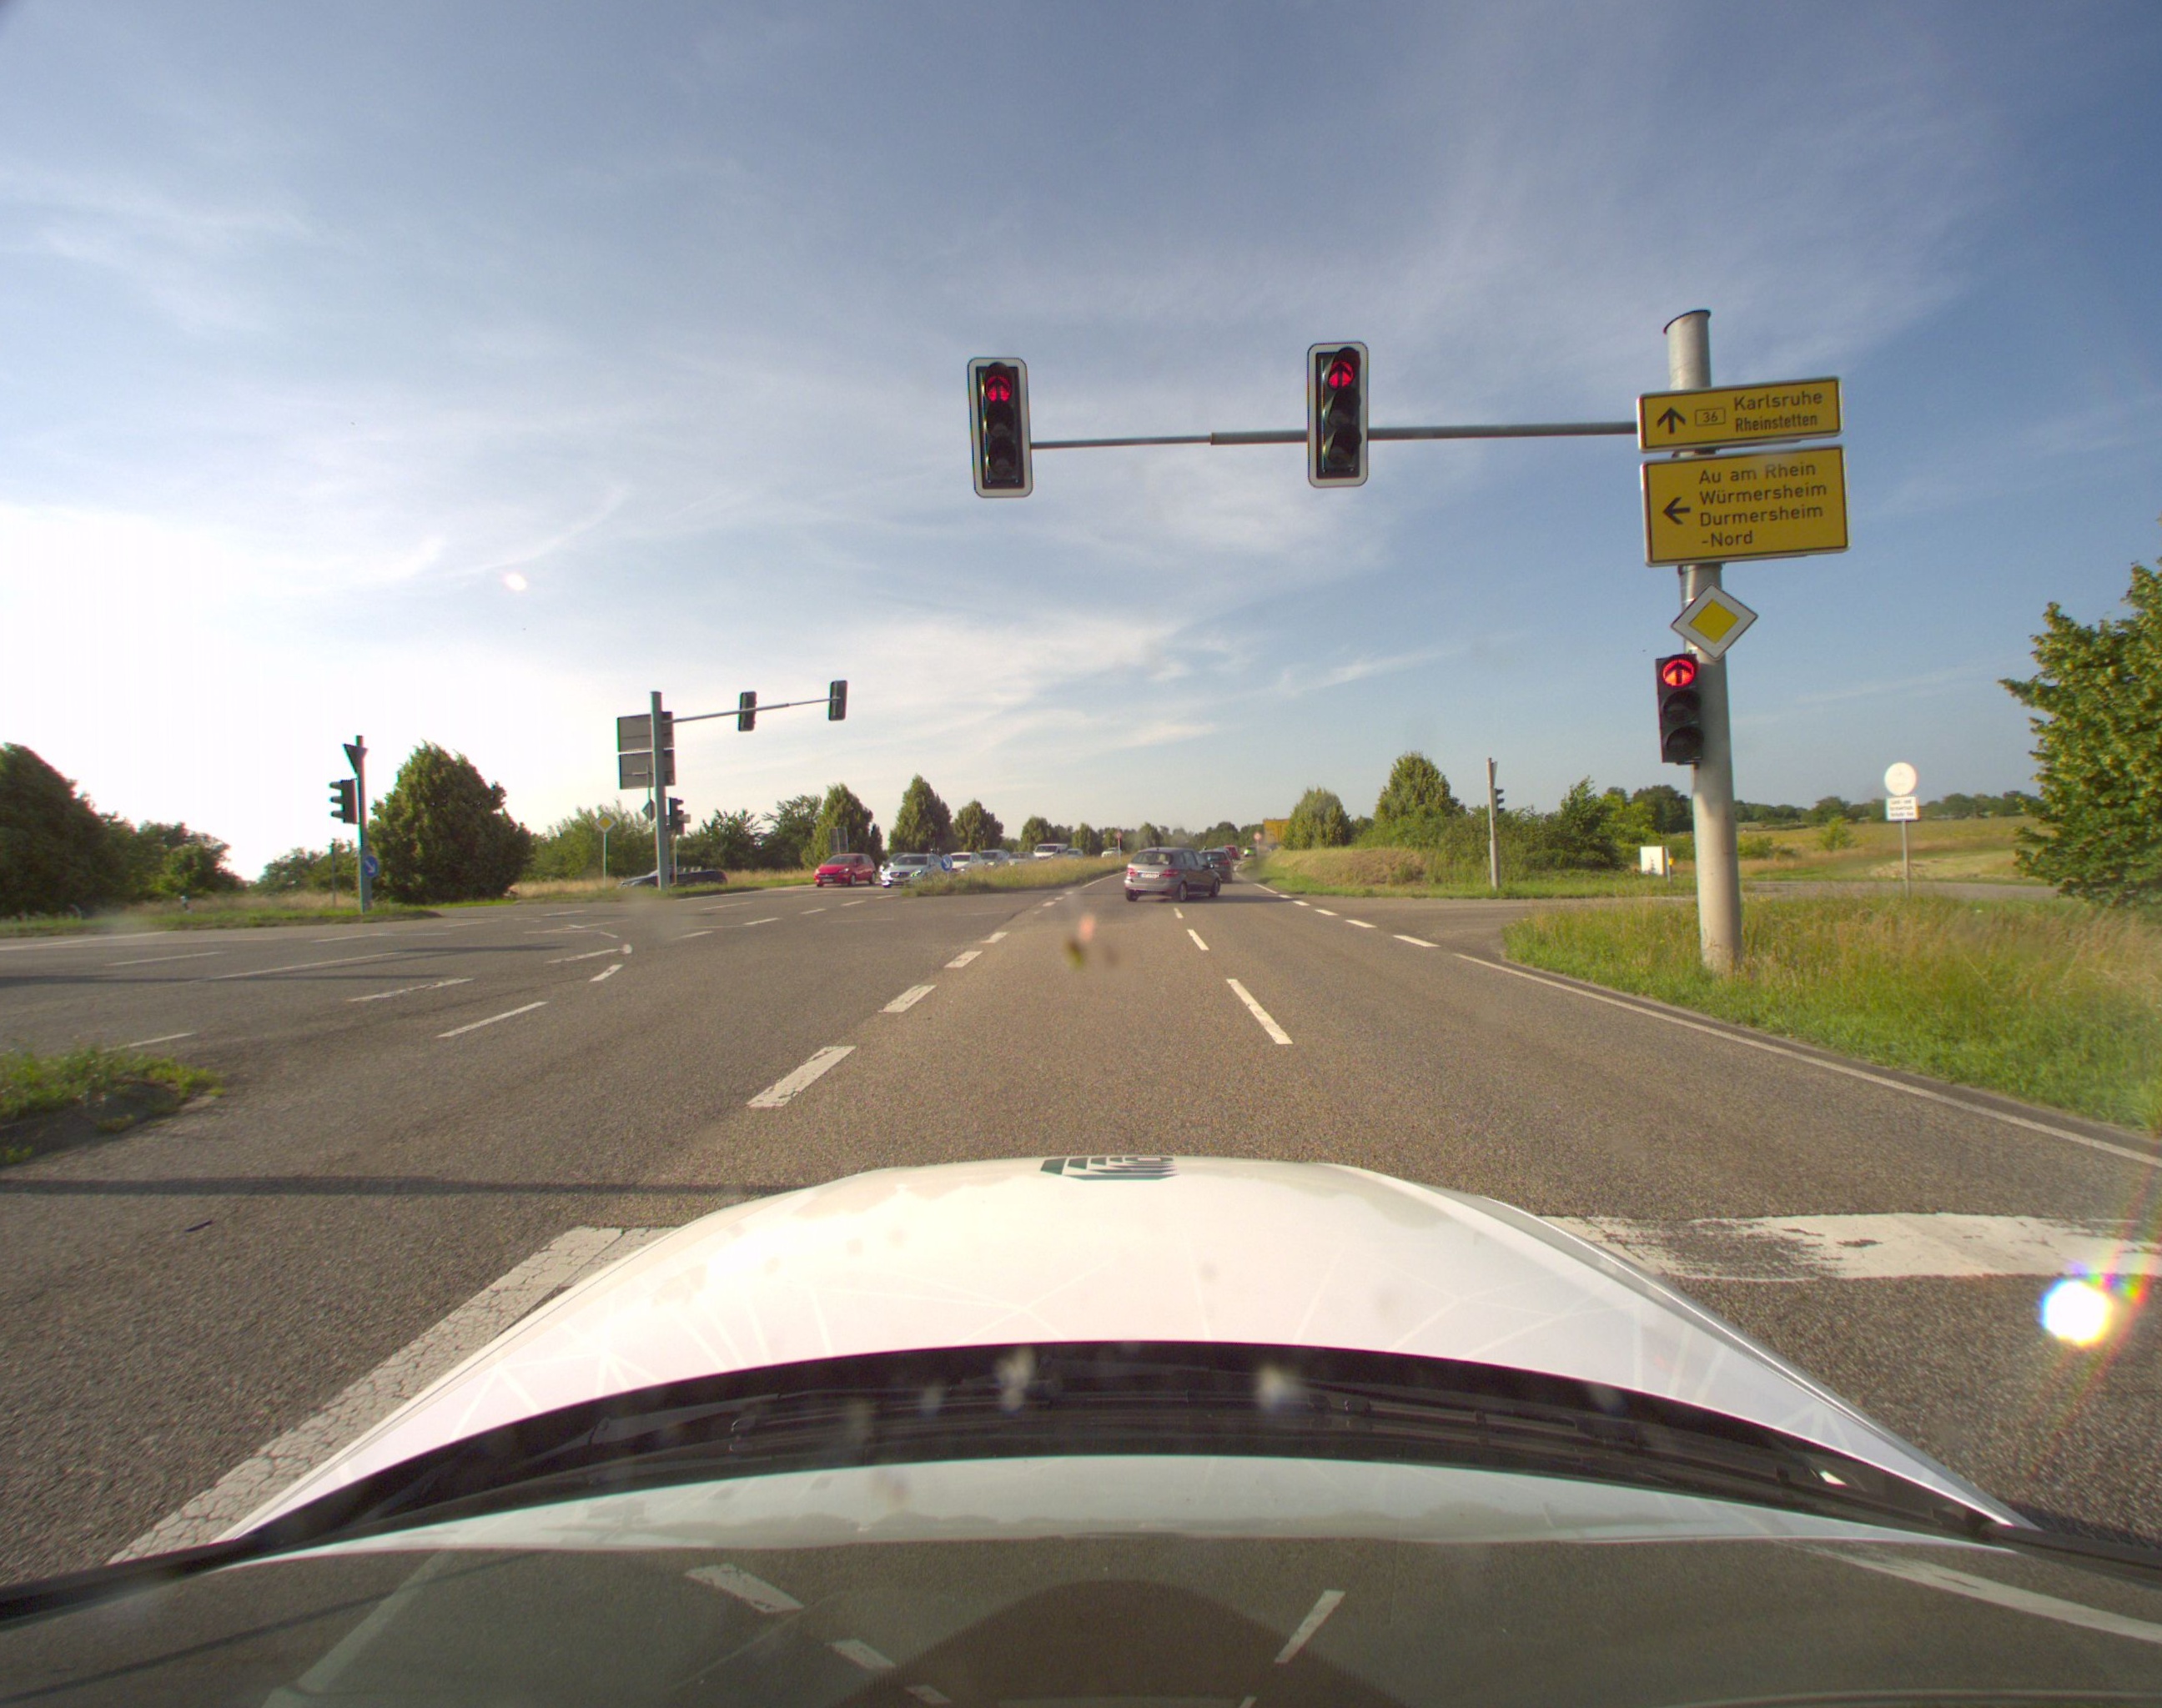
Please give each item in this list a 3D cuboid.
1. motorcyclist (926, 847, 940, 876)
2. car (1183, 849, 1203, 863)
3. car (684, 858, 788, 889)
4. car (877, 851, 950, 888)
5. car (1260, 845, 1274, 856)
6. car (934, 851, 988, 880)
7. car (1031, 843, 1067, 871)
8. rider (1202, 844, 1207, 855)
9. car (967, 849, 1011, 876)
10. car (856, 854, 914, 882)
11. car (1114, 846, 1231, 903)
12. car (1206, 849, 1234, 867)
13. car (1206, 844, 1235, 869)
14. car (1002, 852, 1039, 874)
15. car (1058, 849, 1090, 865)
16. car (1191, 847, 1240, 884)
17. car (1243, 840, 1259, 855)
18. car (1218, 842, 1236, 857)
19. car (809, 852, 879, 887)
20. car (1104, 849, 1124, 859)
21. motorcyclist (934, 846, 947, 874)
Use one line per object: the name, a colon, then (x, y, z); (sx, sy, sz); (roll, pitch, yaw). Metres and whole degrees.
motorcyclist: (-9.002, 0.462, 49.519); (0.660, 1.747, 0.605); (-2, 0, -1)
car: (11.536, 0.249, 83.801); (1.897, 1.323, 4.289); (-1, -1, 10)
car: (-16.509, 0.908, 39.242); (1.705, 1.282, 4.690); (-2, 0, 24)
car: (-7.268, 0.632, 35.843); (1.777, 1.488, 4.659); (-2, 0, 6)
car: (32.749, -0.640, 143.275); (1.894, 1.734, 4.297); (-1, -1, 17)
car: (-6.354, 0.593, 43.521); (1.777, 1.433, 4.317); (-2, 0, 6)
car: (-2.515, 0.230, 65.243); (1.913, 2.078, 4.255); (-2, 0, 10)
rider: (23.528, -0.873, 155.191); (0.861, 2.013, 0.775); (-2, 0, 17)
car: (-5.560, 0.486, 49.732); (1.777, 1.568, 4.058); (-2, 0, 6)
car: (-10.715, 0.734, 44.838); (1.777, 1.433, 4.058); (-2, 0, 6)
car: (2.904, 0.604, 24.973); (1.767, 1.605, 4.222); (-2, -1, 34)
car: (11.339, 0.358, 66.323); (1.900, 1.416, 3.811); (-1, -1, 15)
car: (9.023, 0.136, 52.749); (1.762, 1.492, 3.996); (-1, 0, 10)
car: (-4.125, 0.571, 55.909); (1.777, 1.385, 4.058); (-2, 0, 6)
car: (-0.601, 0.241, 73.735); (1.772, 1.385, 4.068); (-2, 0, 16)
car: (6.258, 0.492, 37.496); (1.796, 1.565, 4.549); (-1, 0, 15)
car: (22.707, -0.816, 108.670); (1.897, 1.800, 4.289); (-1, -1, 10)
car: (16.361, -0.469, 91.221); (1.883, 1.565, 4.291); (-1, -1, 11)
car: (-10.862, 0.681, 37.594); (1.711, 1.488, 3.812); (-2, 0, 7)
car: (4.618, -0.009, 112.515); (1.772, 1.385, 4.068); (-2, 0, 16)
motorcyclist: (-9.066, 0.374, 52.538); (0.660, 1.817, 0.605); (-2, 0, -1)
